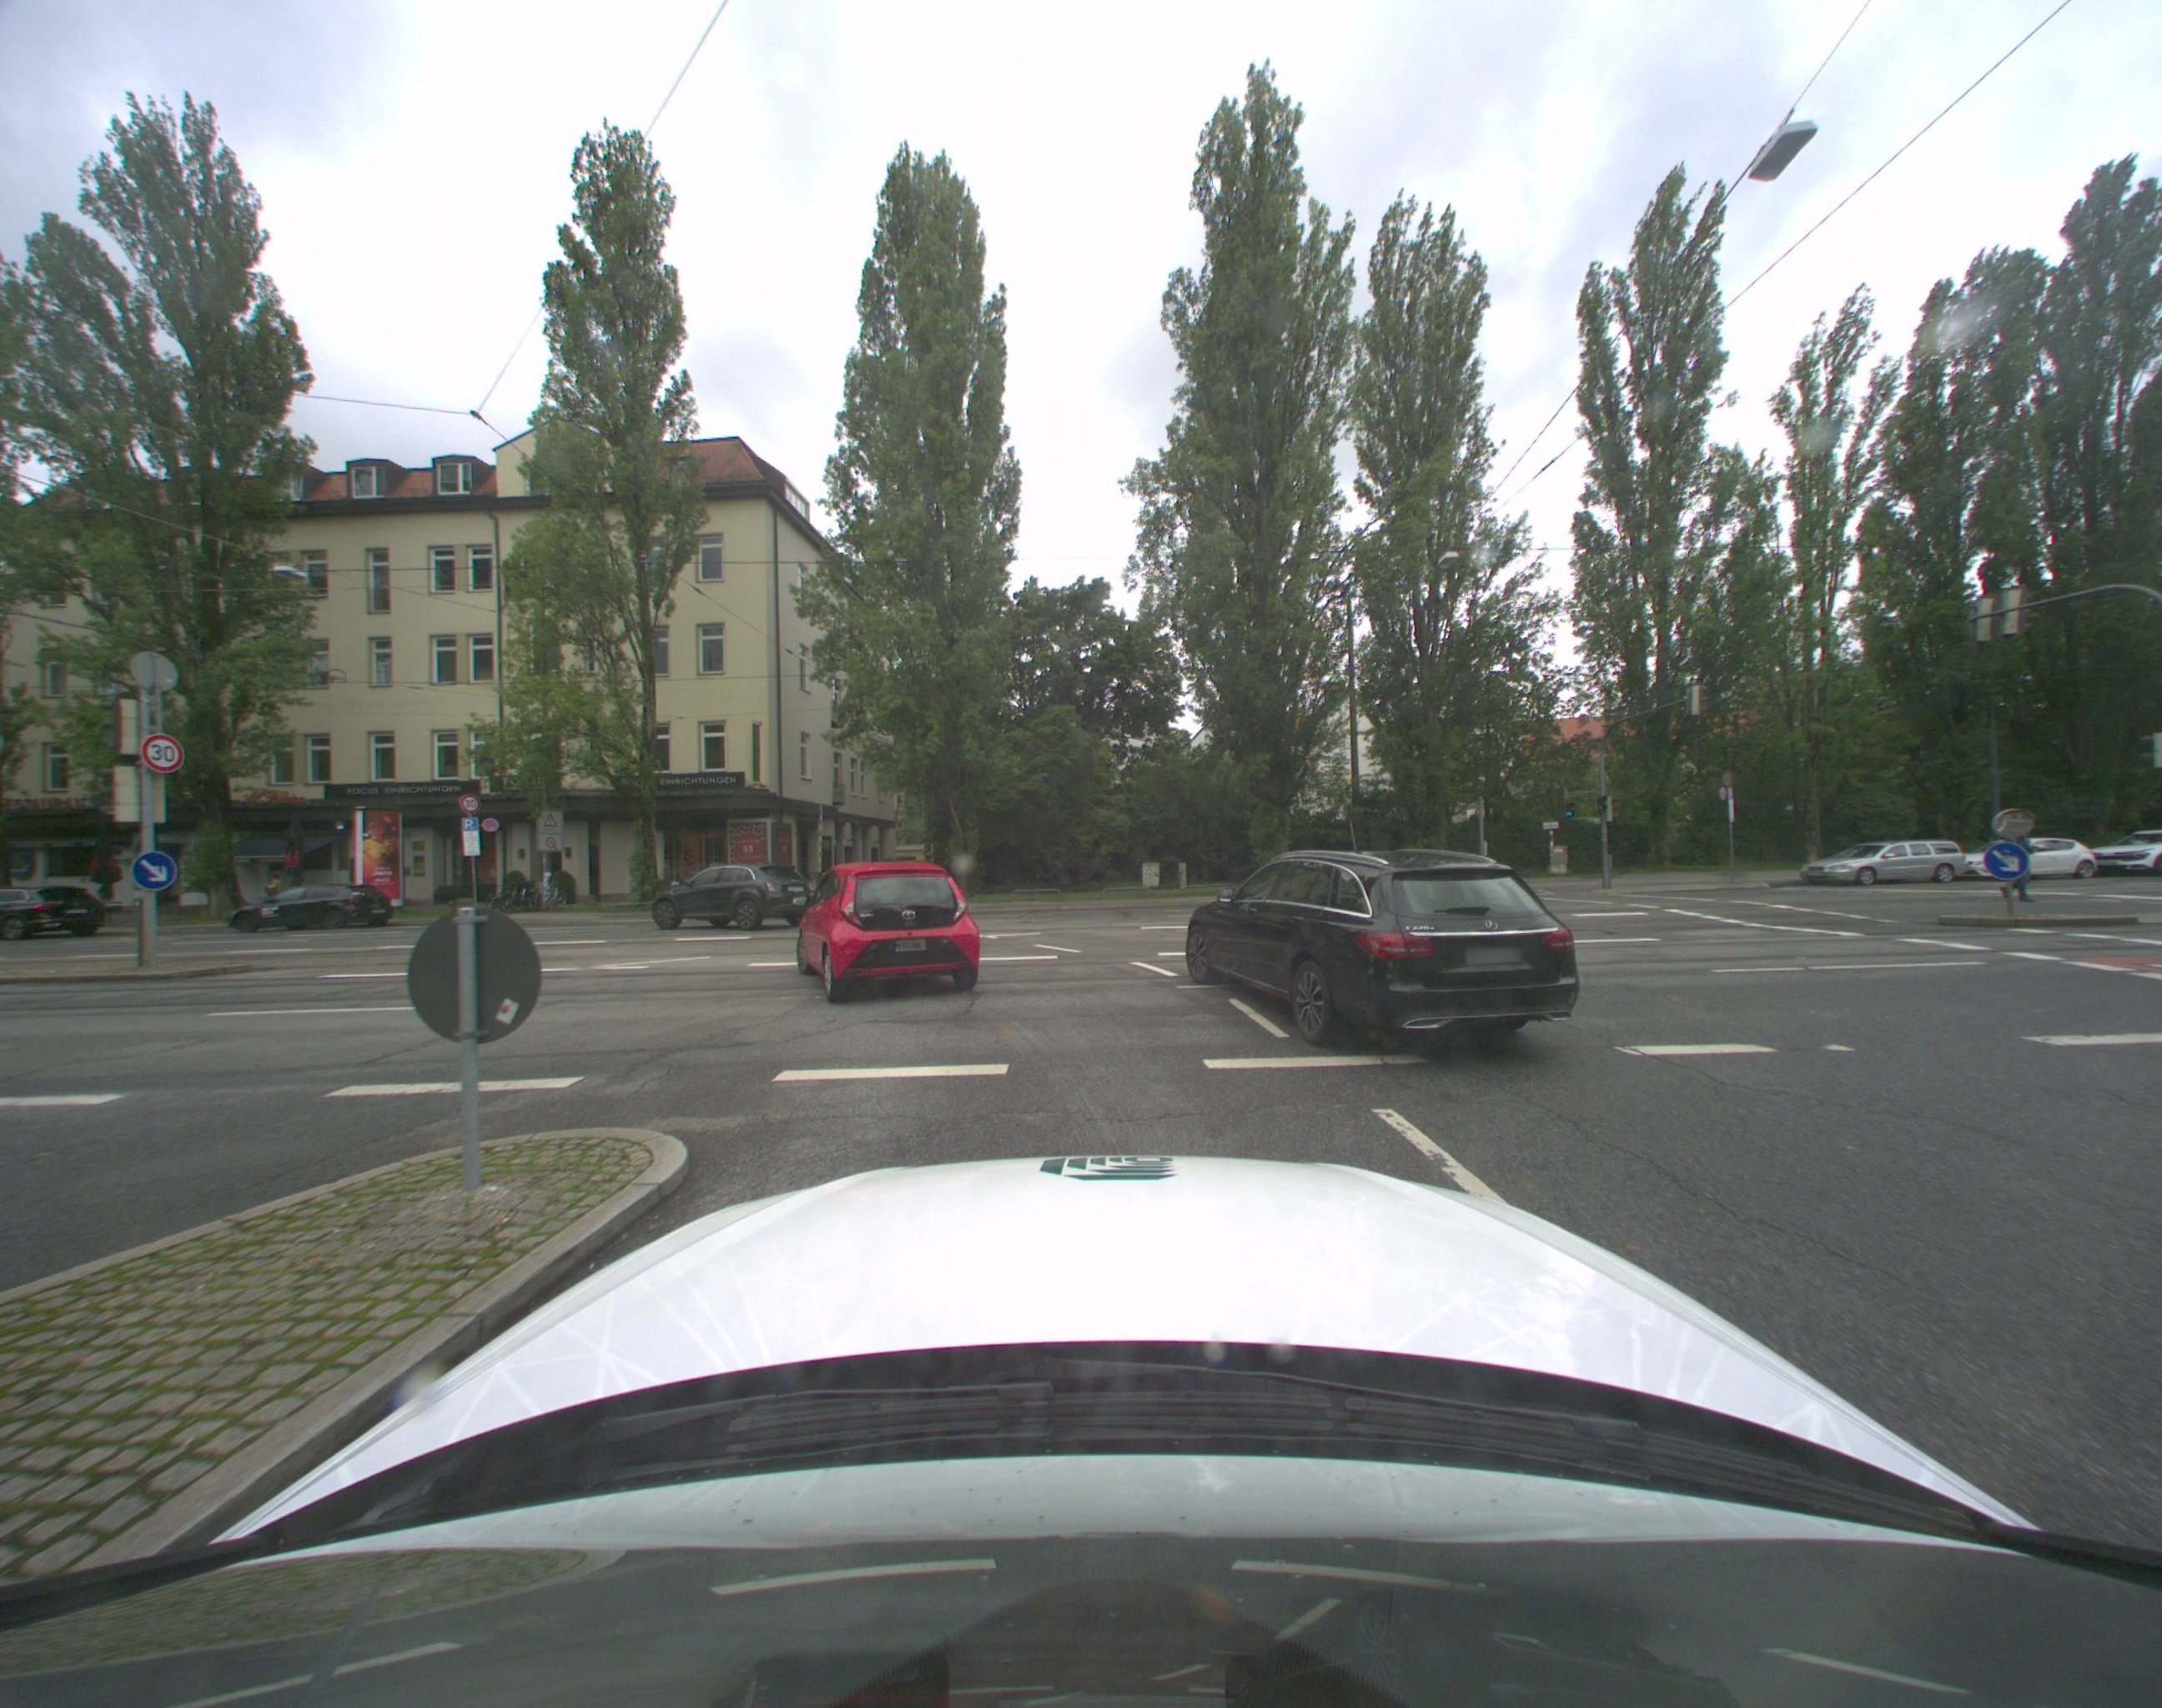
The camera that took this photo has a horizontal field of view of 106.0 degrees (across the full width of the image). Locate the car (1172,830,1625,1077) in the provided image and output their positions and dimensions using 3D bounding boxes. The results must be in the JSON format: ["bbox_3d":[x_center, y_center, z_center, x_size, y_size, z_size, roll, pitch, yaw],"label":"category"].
[{"bbox_3d":[2.387,0.630,7.660,1.863,1.549,4.689,-1,0,-9],"label":"car"}]

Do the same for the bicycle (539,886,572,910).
[{"bbox_3d":[-20.473,1.704,31.755,0.386,0.883,1.371,-2,0,-1],"label":"bicycle"}]

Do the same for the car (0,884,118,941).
[{"bbox_3d":[-33.583,1.856,25.657,4.440,1.612,1.727,-2,0,1],"label":"car"}]

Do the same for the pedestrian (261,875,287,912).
[{"bbox_3d":[-34.327,1.664,34.644,0.492,1.562,0.575,0,-1,3],"label":"pedestrian"}]

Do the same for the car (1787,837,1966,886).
[{"bbox_3d":[26.957,0.245,27.695,4.324,1.486,1.786,-2,-1,0],"label":"car"}]

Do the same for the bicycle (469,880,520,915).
[{"bbox_3d":[-21.622,1.586,30.075,0.493,1.185,1.888,-2,0,-1],"label":"bicycle"}]

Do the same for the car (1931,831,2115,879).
[{"bbox_3d":[32.337,0.048,28.045,4.231,1.486,1.786,-2,-1,0],"label":"car"}]

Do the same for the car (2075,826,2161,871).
[{"bbox_3d":[37.730,-0.228,28.384,4.116,1.486,1.785,-2,-1,-3],"label":"car"}]

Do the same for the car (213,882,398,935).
[{"bbox_3d":[-24.326,1.688,25.668,3.977,1.466,1.804,-2,-1,-2],"label":"car"}]

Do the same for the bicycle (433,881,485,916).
[{"bbox_3d":[-22.973,1.608,30.112,0.493,1.185,1.888,-2,0,-1],"label":"bicycle"}]

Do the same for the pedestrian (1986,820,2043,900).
[{"bbox_3d":[19.723,0.127,17.219,0.693,1.662,0.555,-1,-2,42],"label":"pedestrian"}]

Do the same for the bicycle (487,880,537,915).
[{"bbox_3d":[-20.927,1.586,29.982,0.493,1.185,1.888,-2,0,-1],"label":"bicycle"}]

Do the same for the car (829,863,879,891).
[{"bbox_3d":[-12.632,1.248,45.623,1.720,1.442,3.998,-2,0,-1],"label":"car"}]

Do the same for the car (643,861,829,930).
[{"bbox_3d":[-8.193,0.980,19.362,3.951,1.486,1.796,-2,-1,23],"label":"car"}]

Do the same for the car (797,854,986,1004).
[{"bbox_3d":[-2.446,0.759,9.922,1.636,1.440,3.350,-1,0,-24],"label":"car"}]

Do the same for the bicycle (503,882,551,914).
[{"bbox_3d":[-20.401,1.595,30.023,0.493,1.082,1.888,-2,0,-1],"label":"bicycle"}]

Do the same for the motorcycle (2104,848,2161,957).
[{"bbox_3d":[11.953,0.518,8.228,0.627,1.169,2.027,0,-1,-3],"label":"motorcycle"}]
